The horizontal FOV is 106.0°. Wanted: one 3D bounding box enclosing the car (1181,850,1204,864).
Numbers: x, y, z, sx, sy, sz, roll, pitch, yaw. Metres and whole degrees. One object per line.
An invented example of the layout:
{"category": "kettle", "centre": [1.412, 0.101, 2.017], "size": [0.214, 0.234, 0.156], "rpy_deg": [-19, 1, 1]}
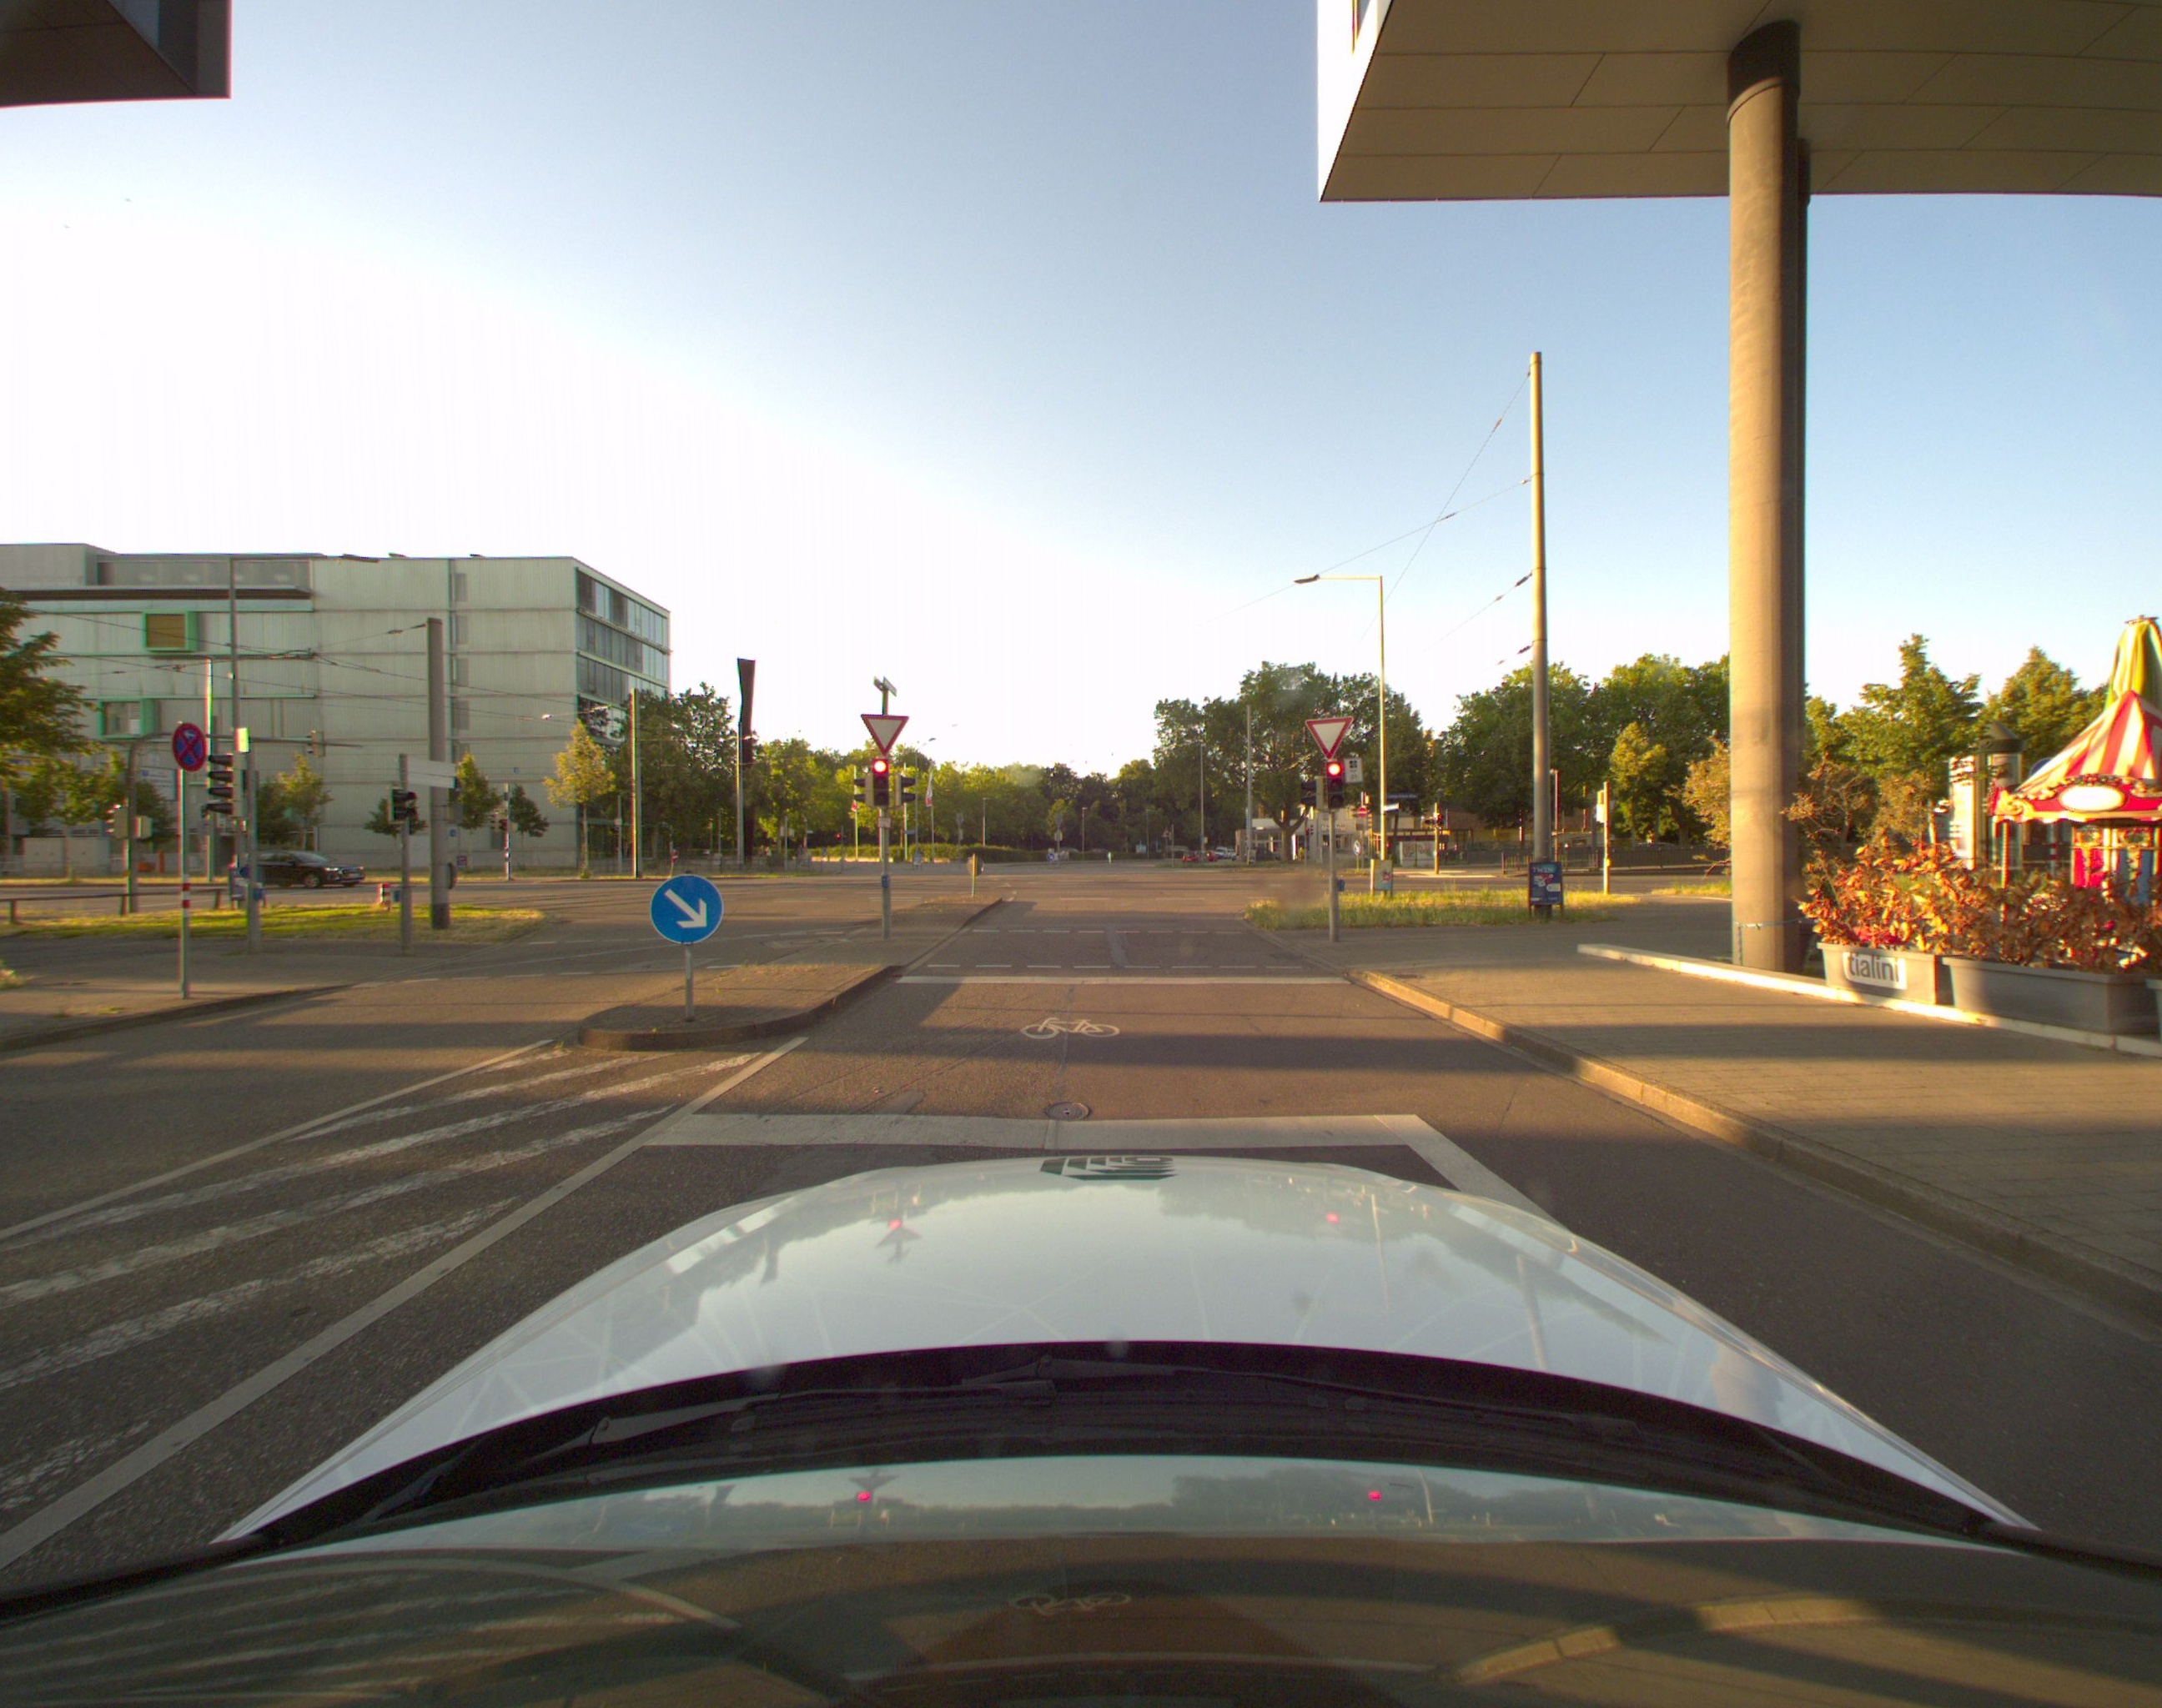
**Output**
{"category": "car", "centre": [13.113, 0.365, 95.557], "size": [1.978, 1.662, 4.018], "rpy_deg": [-1, -1, 17]}

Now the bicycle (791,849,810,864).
{"category": "bicycle", "centre": [-25.915, 0.241, 75.144], "size": [0.736, 1.341, 2.659], "rpy_deg": [-1, 0, -41]}

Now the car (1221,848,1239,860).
{"category": "car", "centre": [21.096, -0.016, 115.297], "size": [1.978, 1.662, 4.018], "rpy_deg": [-1, -1, 17]}

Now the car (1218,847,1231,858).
{"category": "car", "centre": [23.942, -0.274, 135.735], "size": [1.849, 1.794, 4.015], "rpy_deg": [-1, -1, 14]}

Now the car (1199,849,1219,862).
{"category": "car", "centre": [16.216, 0.202, 103.177], "size": [1.978, 1.662, 4.018], "rpy_deg": [-1, -1, 17]}

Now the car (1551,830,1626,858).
{"category": "car", "centre": [47.919, -0.913, 77.036], "size": [5.561, 2.551, 2.235], "rpy_deg": [-1, 0, 9]}

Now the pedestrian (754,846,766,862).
{"category": "pedestrian", "centre": [-34.758, -0.040, 88.298], "size": [0.852, 1.744, 0.835], "rpy_deg": [-1, 0, 28]}

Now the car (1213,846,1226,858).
{"category": "car", "centre": [22.279, -0.267, 130.877], "size": [1.850, 1.794, 4.013], "rpy_deg": [-1, -1, 12]}

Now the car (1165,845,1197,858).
{"category": "car", "centre": [15.425, -0.347, 125.727], "size": [4.753, 2.006, 2.002], "rpy_deg": [-1, -1, 3]}

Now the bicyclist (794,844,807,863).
{"category": "bicyclist", "centre": [-25.830, -0.075, 75.008], "size": [0.757, 1.709, 0.909], "rpy_deg": [-1, 0, -43]}

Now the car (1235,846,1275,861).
{"category": "car", "centre": [18.932, 0.001, 88.898], "size": [4.194, 1.552, 2.005], "rpy_deg": [-1, -1, 9]}

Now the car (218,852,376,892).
{"category": "car", "centre": [-32.500, 0.735, 33.894], "size": [4.467, 1.557, 1.986], "rpy_deg": [-1, 0, -4]}

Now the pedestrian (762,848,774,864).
{"category": "pedestrian", "centre": [-34.199, 0.205, 89.068], "size": [0.852, 1.744, 0.835], "rpy_deg": [-1, 0, 32]}

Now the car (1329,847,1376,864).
{"category": "car", "centre": [23.921, 0.156, 71.868], "size": [3.715, 1.440, 1.669], "rpy_deg": [-1, -1, 11]}
